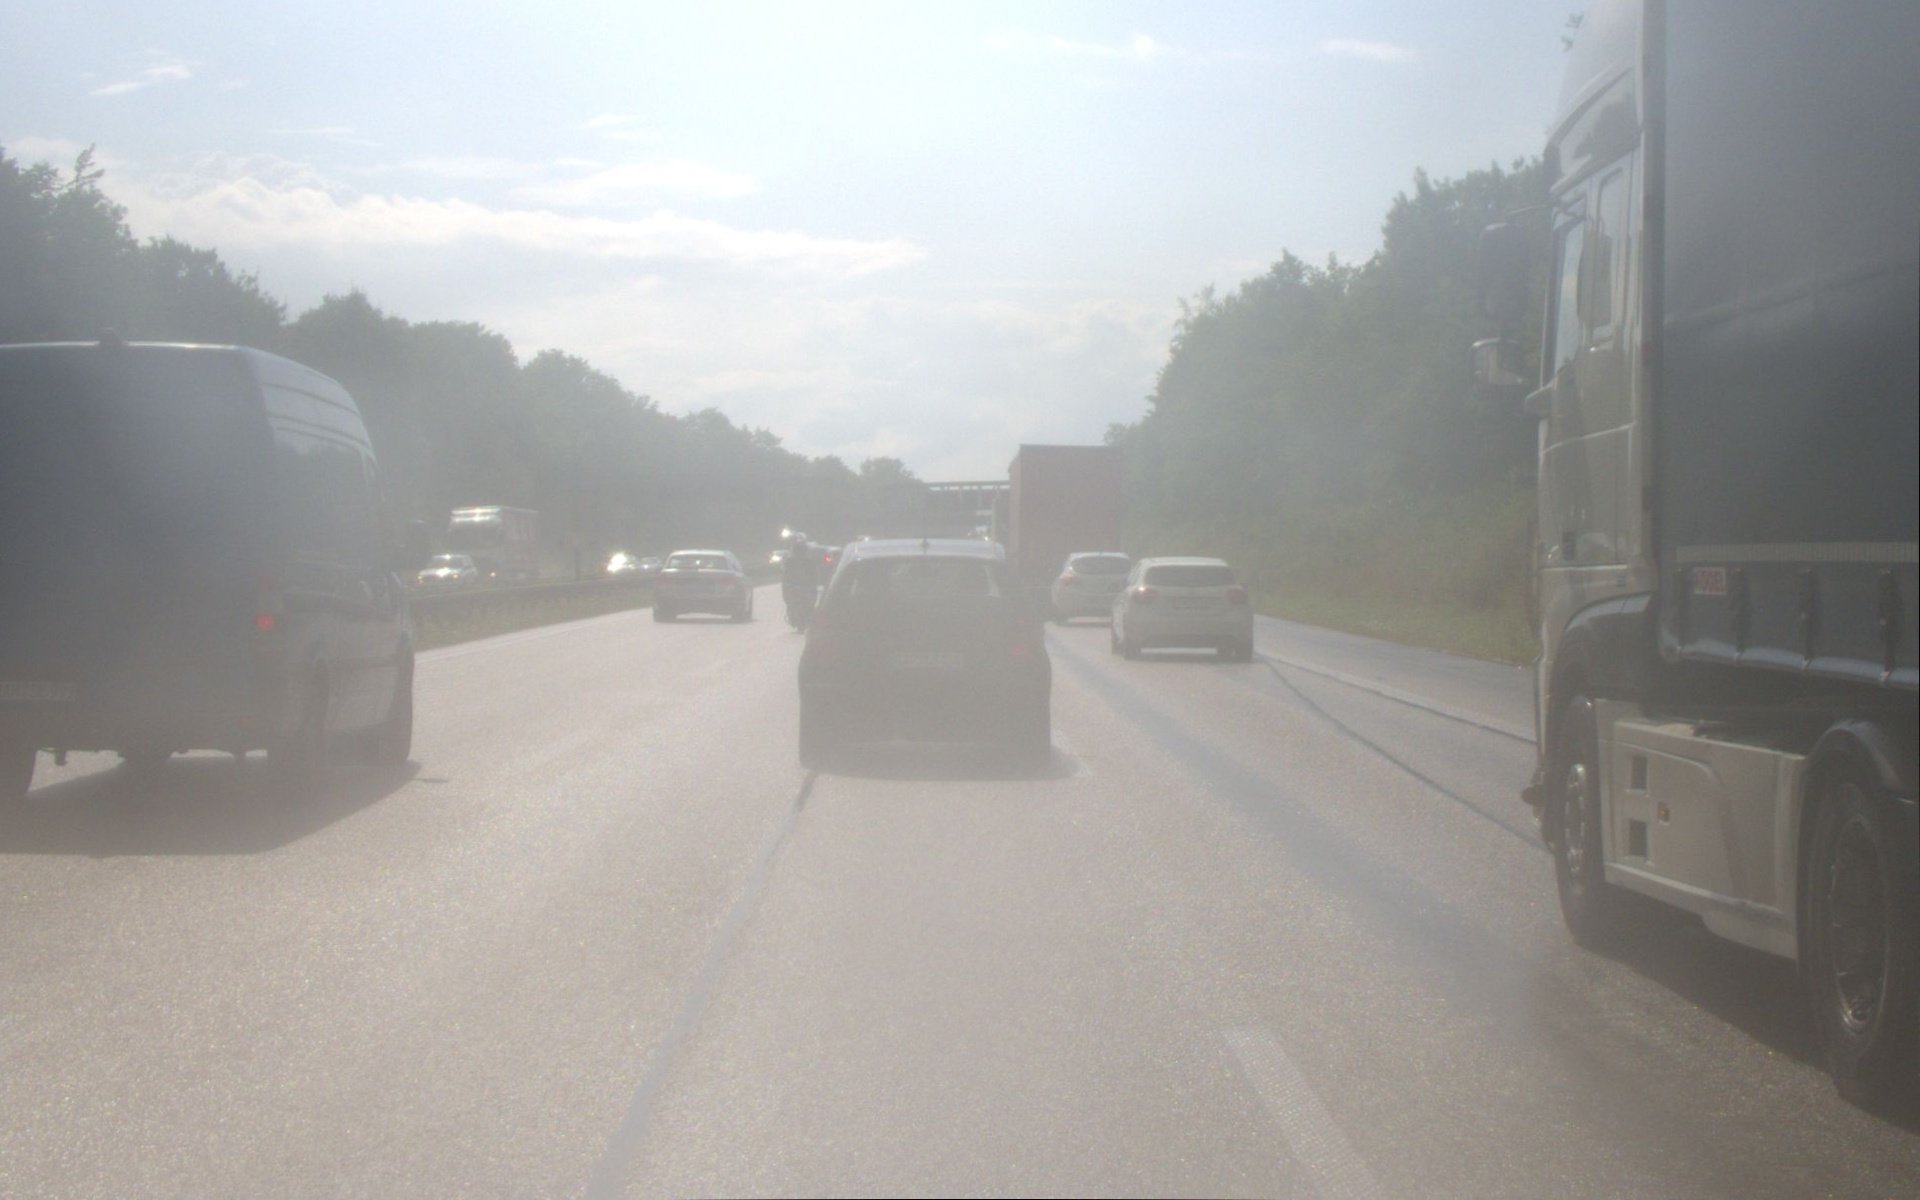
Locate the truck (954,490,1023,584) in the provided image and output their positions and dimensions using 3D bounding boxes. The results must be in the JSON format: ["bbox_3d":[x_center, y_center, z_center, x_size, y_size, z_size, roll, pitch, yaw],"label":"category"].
[{"bbox_3d":[1.476,-3.074,170.784,3.256,4.464,12.421,1,1,1],"label":"truck"}]

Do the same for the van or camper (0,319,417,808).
[{"bbox_3d":[-4.793,-0.231,21.481,1.993,2.659,5.385,1,1,-1],"label":"van or camper"}]

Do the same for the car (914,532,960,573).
[{"bbox_3d":[-0.791,-1.633,118.482,1.552,1.378,3.210,1,1,-1],"label":"car"}]

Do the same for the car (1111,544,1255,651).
[{"bbox_3d":[3.115,-0.057,48.723,1.692,1.420,4.220,1,1,-1],"label":"car"}]

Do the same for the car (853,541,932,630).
[{"bbox_3d":[-1.355,-0.309,69.635,1.531,1.740,3.485,1,1,-1],"label":"car"}]

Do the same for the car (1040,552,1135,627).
[{"bbox_3d":[2.541,-0.225,69.189,1.680,1.437,3.905,1,1,-1],"label":"car"}]

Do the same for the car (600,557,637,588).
[{"bbox_3d":[-19.001,-1.531,191.259,1.699,1.657,4.236,1,1,-1],"label":"car"}]

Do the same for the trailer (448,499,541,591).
[{"bbox_3d":[-23.011,-2.680,170.768,2.863,4.358,14.093,1,1,-1],"label":"trailer"}]

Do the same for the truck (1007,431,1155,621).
[{"bbox_3d":[3.167,-1.936,94.419,3.650,4.704,16.779,1,1,1],"label":"truck"}]

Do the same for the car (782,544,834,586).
[{"bbox_3d":[-5.384,-1.229,122.122,1.751,1.452,3.390,1,1,-1],"label":"car"}]

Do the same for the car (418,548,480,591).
[{"bbox_3d":[-20.267,-1.231,136.422,1.828,1.657,4.631,1,1,-1],"label":"car"}]

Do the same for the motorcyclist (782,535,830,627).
[{"bbox_3d":[-2.749,-0.338,61.431,0.801,1.627,1.013,1,0,-1],"label":"motorcyclist"}]

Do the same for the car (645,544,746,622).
[{"bbox_3d":[-5.431,-0.370,70.891,1.854,1.546,3.485,1,1,-1],"label":"car"}]

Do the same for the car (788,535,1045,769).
[{"bbox_3d":[-0.318,0.331,24.928,1.717,1.562,3.485,1,1,-1],"label":"car"}]

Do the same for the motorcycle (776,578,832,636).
[{"bbox_3d":[-2.767,0.111,61.270,0.890,0.997,2.896,1,1,-1],"label":"motorcycle"}]

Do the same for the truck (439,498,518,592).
[{"bbox_3d":[-22.956,-2.606,164.153,2.863,4.358,6.869,1,1,-1],"label":"truck"}]

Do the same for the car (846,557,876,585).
[{"bbox_3d":[-5.010,-1.457,174.616,1.485,1.385,3.198,1,1,-1],"label":"car"}]

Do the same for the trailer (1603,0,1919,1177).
[{"bbox_3d":[3.643,-0.567,5.058,2.634,3.982,14.065,1,1,0],"label":"trailer"}]

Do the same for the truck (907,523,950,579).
[{"bbox_3d":[-1.654,-2.563,179.819,2.192,2.865,4.850,1,1,-1],"label":"truck"}]

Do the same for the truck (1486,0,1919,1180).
[{"bbox_3d":[3.587,-0.631,11.006,2.607,3.982,7.290,1,1,0],"label":"truck"}]

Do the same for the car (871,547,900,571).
[{"bbox_3d":[-5.232,-2.875,240.946,1.993,1.695,4.000,-1,1,-1],"label":"car"}]
